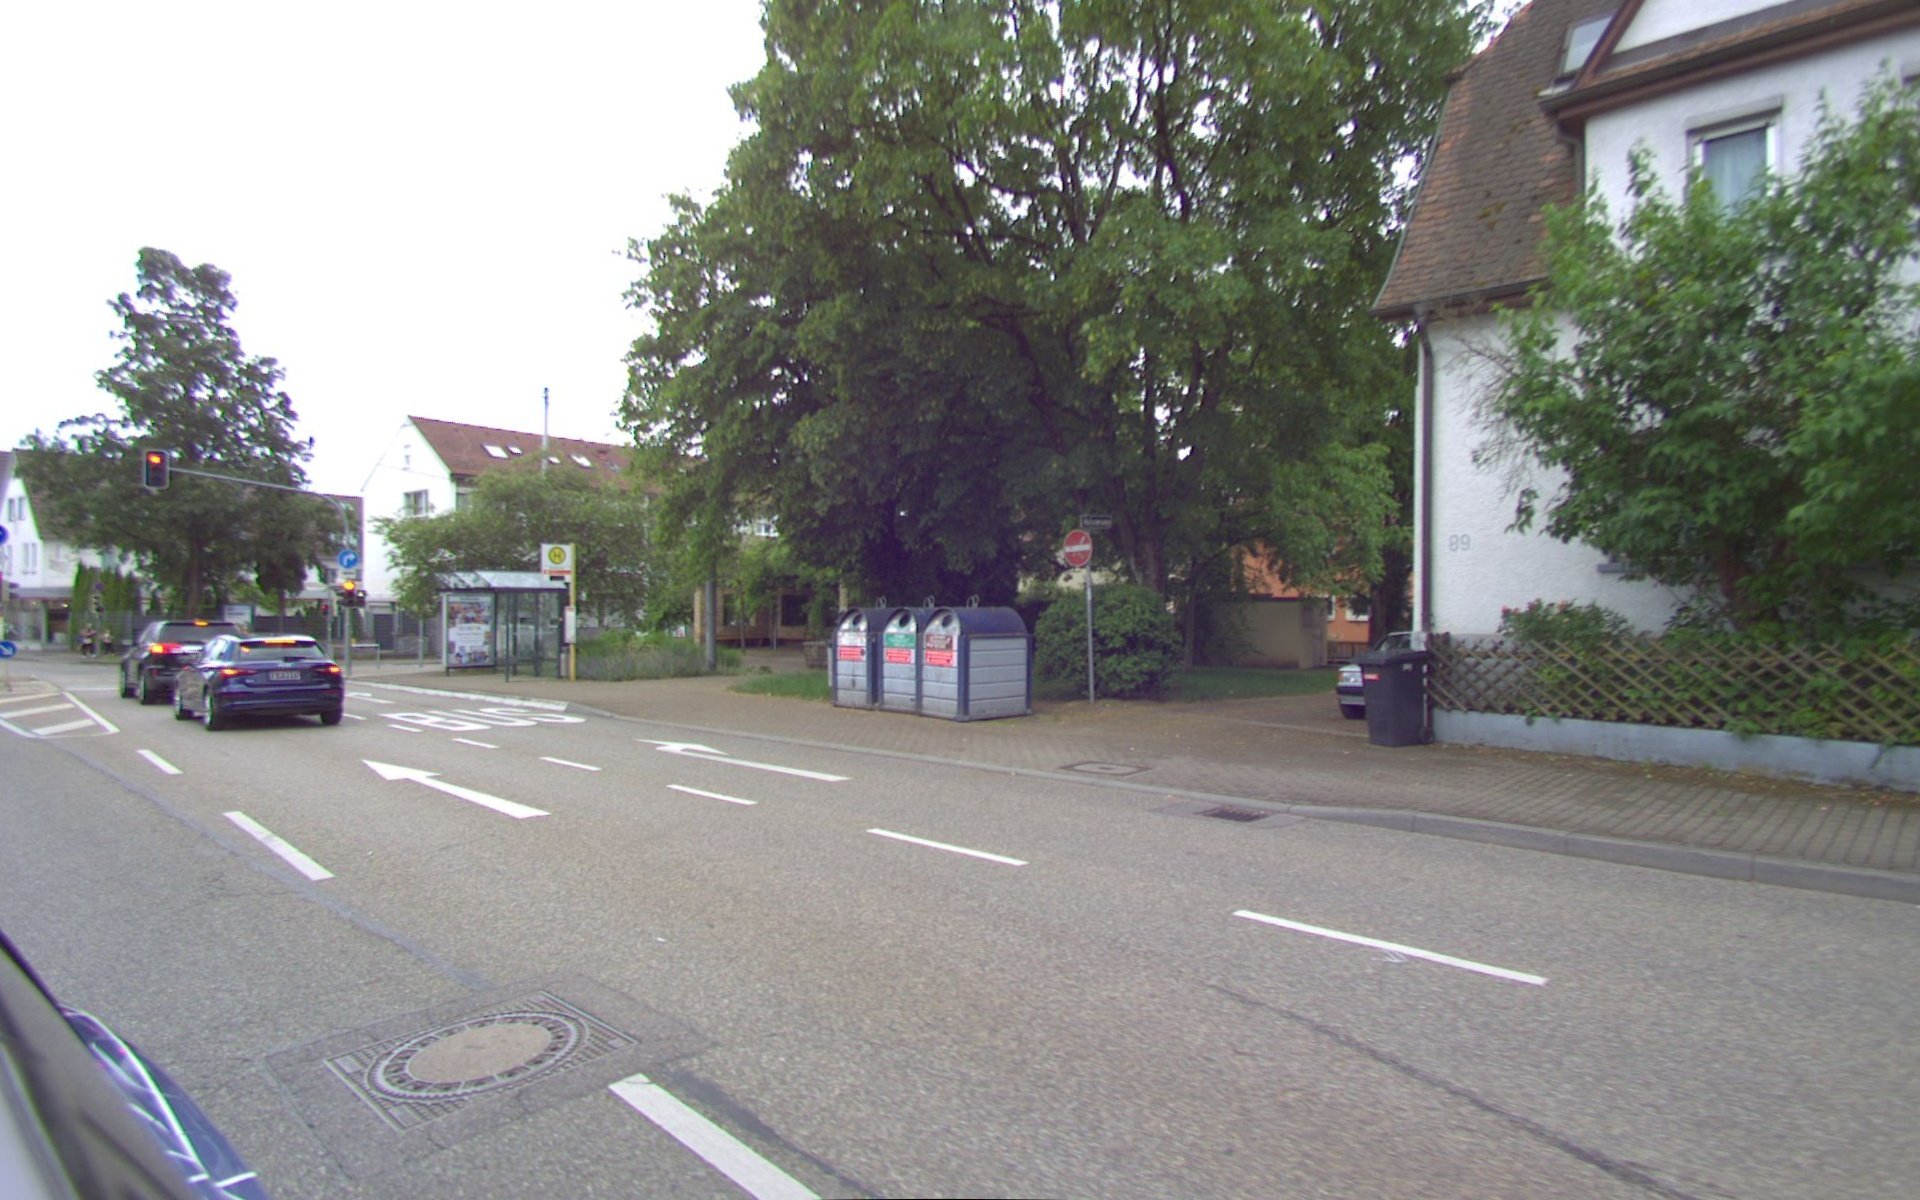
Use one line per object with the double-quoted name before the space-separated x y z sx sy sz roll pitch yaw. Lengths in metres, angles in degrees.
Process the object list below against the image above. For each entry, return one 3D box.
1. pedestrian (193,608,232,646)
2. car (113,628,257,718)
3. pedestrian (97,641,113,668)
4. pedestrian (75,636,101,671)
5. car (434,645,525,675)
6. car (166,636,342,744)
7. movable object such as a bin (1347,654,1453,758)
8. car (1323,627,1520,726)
"pedestrian" -35.591 1.260 48.187 1.211 1.767 0.825 -1 0 -4
"car" -16.623 1.480 21.613 4.597 1.647 1.738 0 -3 44
"pedestrian" -41.495 2.650 49.091 0.547 1.271 0.380 -1 0 24
"pedestrian" -41.868 2.563 48.594 0.861 1.617 0.637 -1 0 24
"car" -23.507 2.927 49.568 1.771 1.409 3.595 -2 -4 41
"car" -11.460 1.346 16.321 4.131 1.431 1.546 -1 -1 44
"movable object such as a bin" 4.823 1.140 11.123 0.708 1.027 0.724 -3 -1 -13
"car" 7.423 1.172 16.082 1.722 1.342 3.943 0 -3 43
